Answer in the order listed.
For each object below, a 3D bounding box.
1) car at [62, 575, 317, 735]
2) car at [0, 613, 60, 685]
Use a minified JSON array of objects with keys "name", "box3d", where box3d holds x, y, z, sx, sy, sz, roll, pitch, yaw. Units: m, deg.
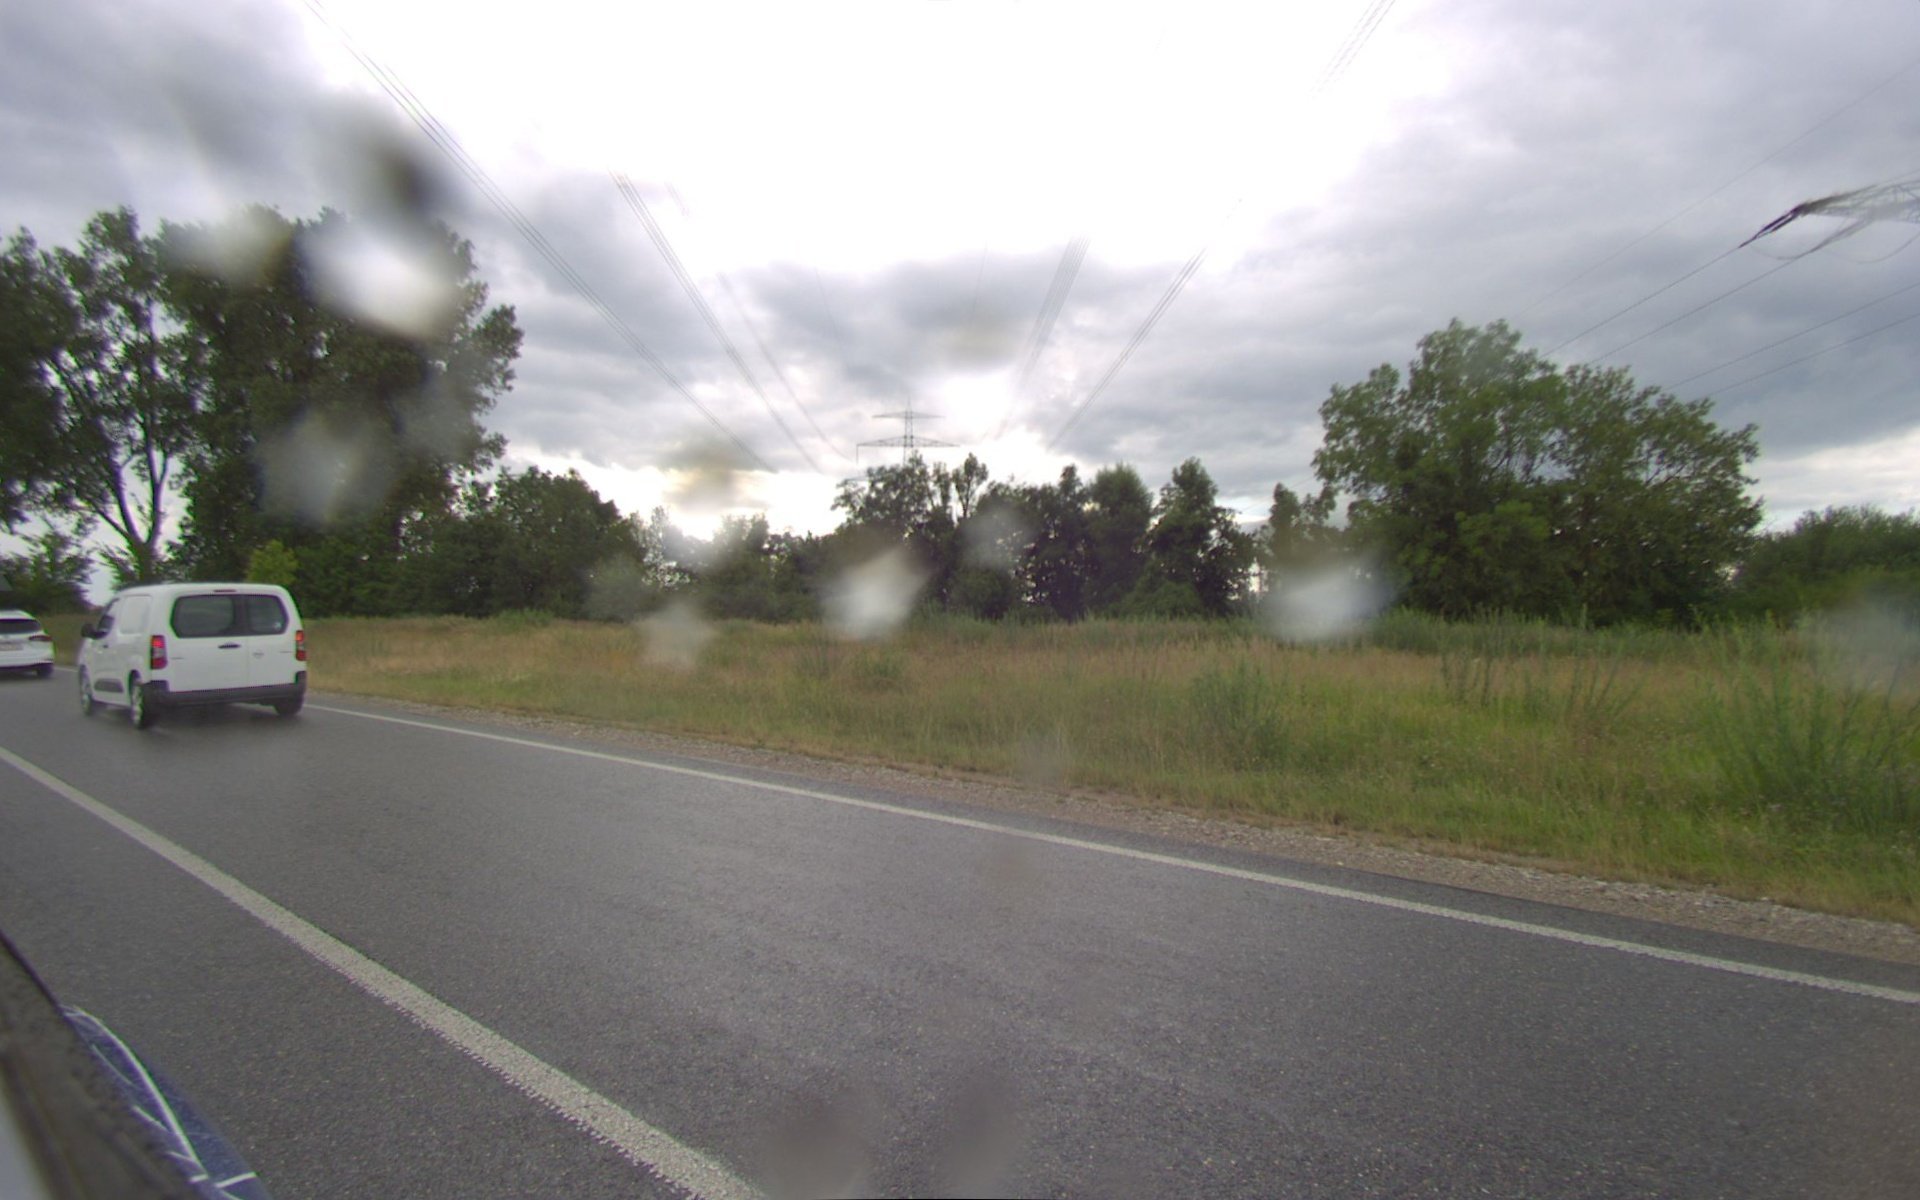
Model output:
[{"name":"car","box3d":[-10.711,0.629,13.948,4.443,1.869,1.826,0,1,40]},{"name":"car","box3d":[-21.052,1.020,21.832,4.283,1.398,1.826,0,1,40]}]
